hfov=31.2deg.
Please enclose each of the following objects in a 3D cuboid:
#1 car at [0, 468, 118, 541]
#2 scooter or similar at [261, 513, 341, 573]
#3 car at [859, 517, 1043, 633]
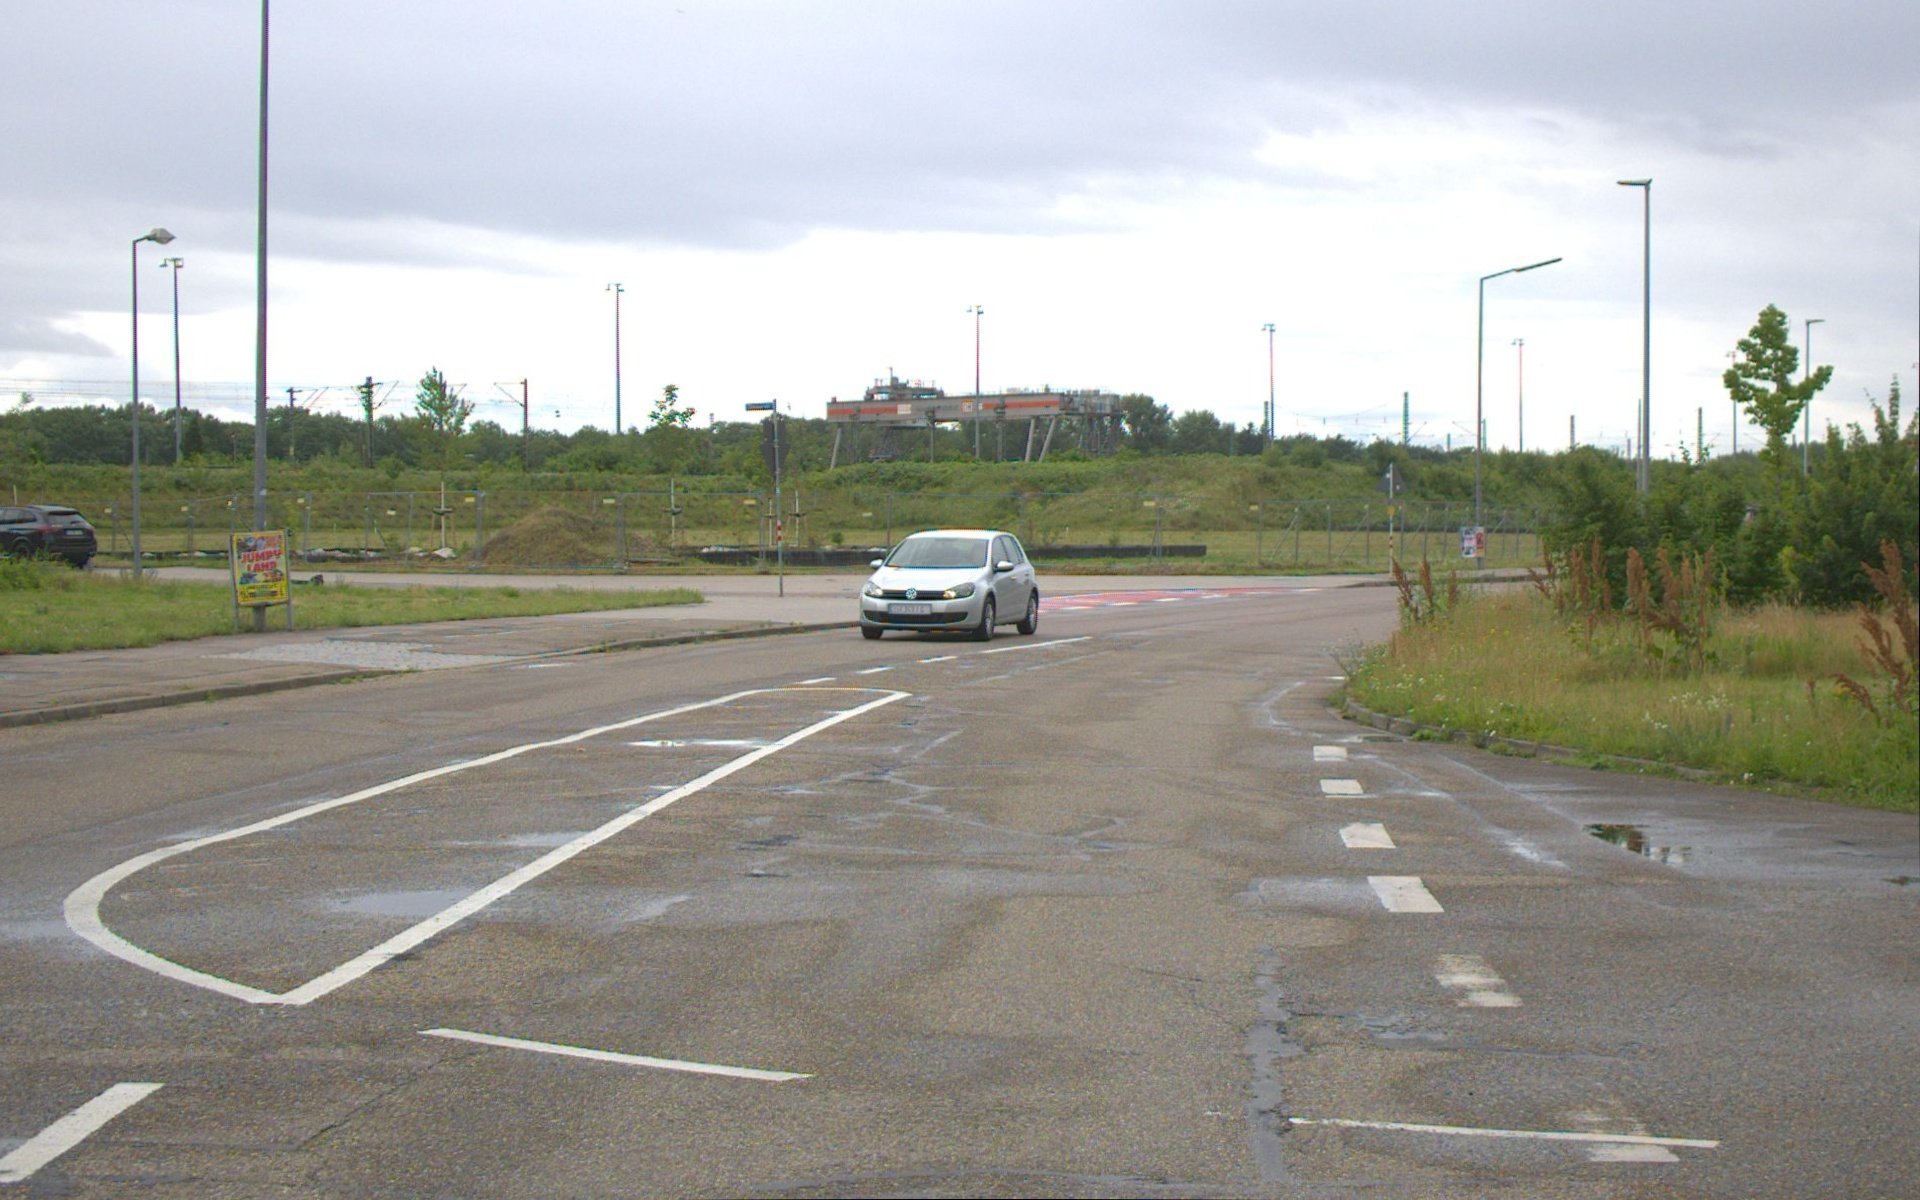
[{"bbox_3d":[-23.784,-2.469,88.539,3.996,1.816,1.996,2,3,37],"label":"car"},{"bbox_3d":[-13.276,-1.153,69.255,1.463,1.164,0.571,2,2,11],"label":"scooter or similar"},{"bbox_3d":[-0.075,-0.385,47.439,1.673,1.456,4.054,3,2,12],"label":"car"}]
